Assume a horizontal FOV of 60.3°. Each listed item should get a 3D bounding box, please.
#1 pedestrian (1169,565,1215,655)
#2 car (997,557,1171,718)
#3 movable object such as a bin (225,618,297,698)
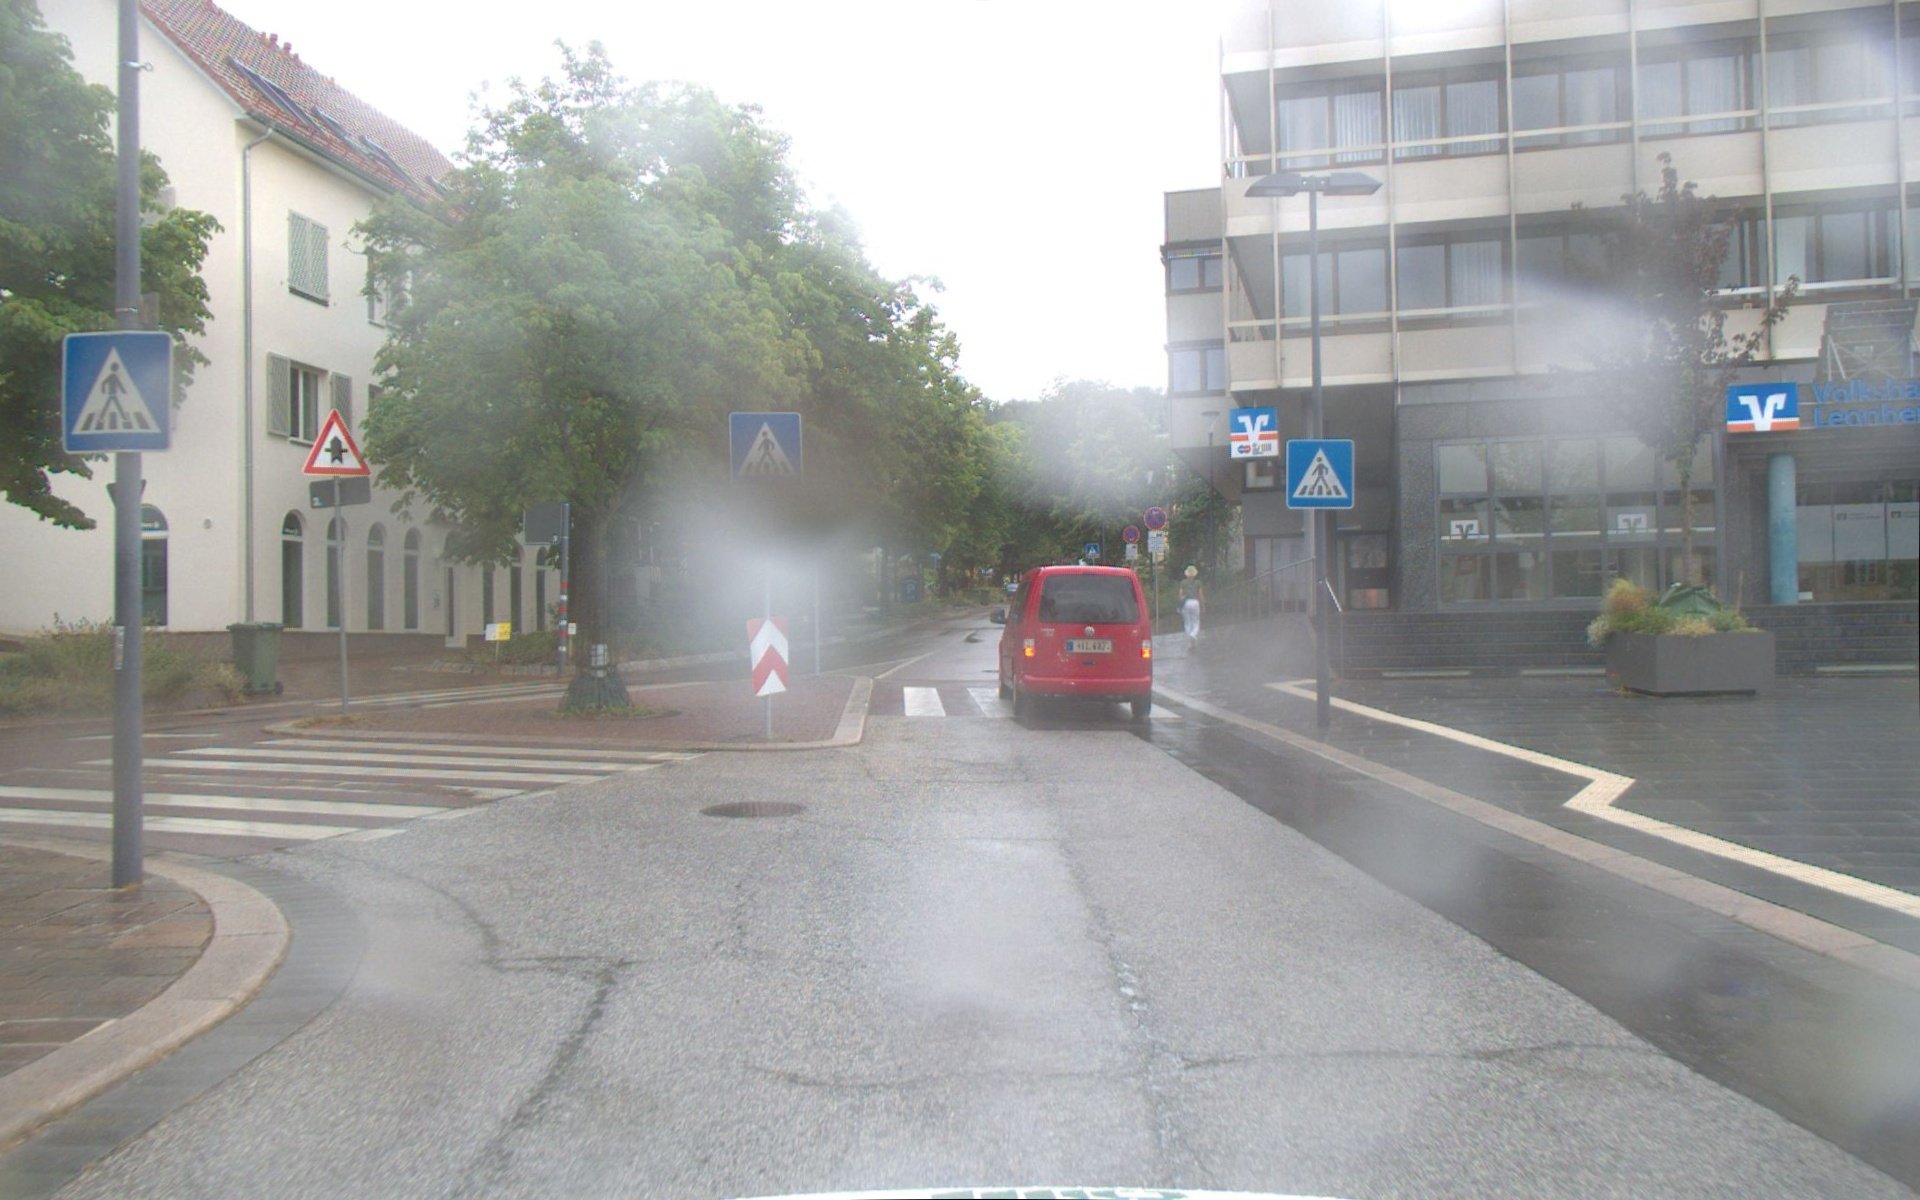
[{"bbox_3d":[4.882,0.201,34.807,0.817,1.862,0.816,-1,0,16],"label":"pedestrian"},{"bbox_3d":[1.513,0.457,21.702,1.824,1.862,4.183,-1,0,-2],"label":"car"},{"bbox_3d":[-10.392,0.860,24.596,0.721,1.144,0.650,-2,-1,14],"label":"movable object such as a bin"}]
